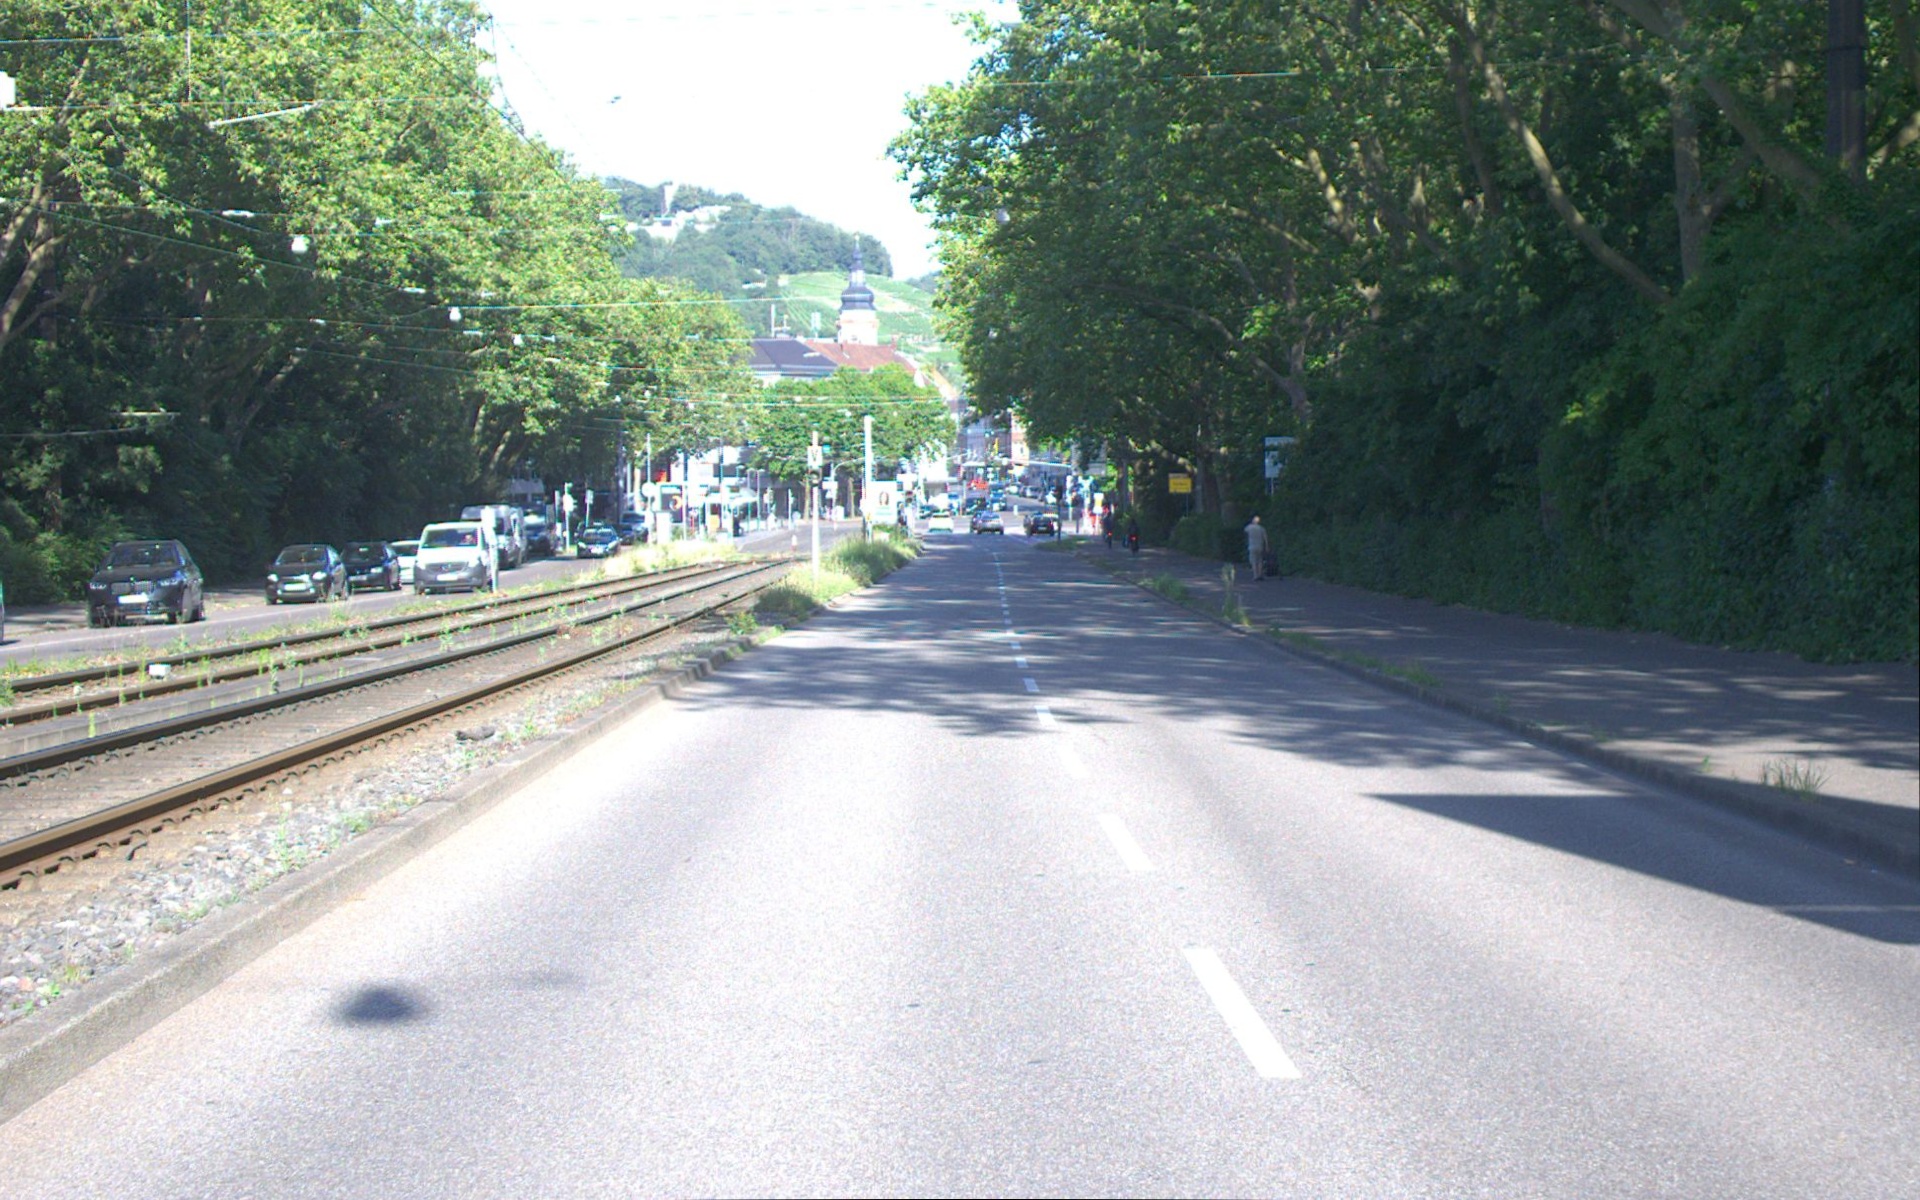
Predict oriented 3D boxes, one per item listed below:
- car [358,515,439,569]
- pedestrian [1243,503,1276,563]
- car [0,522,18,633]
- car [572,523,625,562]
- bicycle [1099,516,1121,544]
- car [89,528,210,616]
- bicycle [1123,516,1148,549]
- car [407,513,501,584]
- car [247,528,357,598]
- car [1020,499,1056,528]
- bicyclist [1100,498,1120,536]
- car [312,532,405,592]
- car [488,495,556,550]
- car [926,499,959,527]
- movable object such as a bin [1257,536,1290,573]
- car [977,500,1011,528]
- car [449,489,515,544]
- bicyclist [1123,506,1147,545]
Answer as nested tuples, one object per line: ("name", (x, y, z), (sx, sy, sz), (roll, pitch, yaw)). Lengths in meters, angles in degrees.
("car", (-18.360, -1.911, 112.541), (1.993, 1.691, 4.745), (-1, 1, -2))
("pedestrian", (7.727, -1.726, 88.610), (0.804, 1.540, 0.814), (-1, 1, 4))
("car", (-16.017, -0.258, 53.208), (1.741, 1.737, 4.515), (-4, 2, -3))
("car", (-16.189, -2.579, 154.129), (1.993, 1.691, 4.745), (-1, 1, -2))
("bicycle", (7.067, -3.292, 161.959), (0.887, 1.316, 2.640), (-1, 1, 0))
("car", (-16.092, -0.580, 68.402), (1.741, 1.631, 4.001), (-1, 2, -5))
("bicycle", (7.249, -2.795, 142.280), (0.887, 1.316, 2.640), (-1, 1, 0))
("car", (-13.647, -1.411, 92.989), (1.993, 1.838, 5.302), (-1, 1, -3))
("car", (-16.841, -0.972, 88.191), (1.993, 1.691, 4.745), (-1, 1, -2))
("car", (5.525, -6.129, 242.963), (2.394, 1.993, 5.306), (-1, 1, 0))
("bicyclist", (7.066, -3.903, 161.830), (0.887, 1.768, 1.222), (-1, 1, 0))
("car", (-17.682, -1.131, 101.278), (1.993, 1.691, 4.745), (-1, 1, -2))
("car", (-20.518, -3.618, 161.113), (2.394, 2.515, 5.900), (-1, 1, 0))
("car", (-1.310, -6.499, 257.409), (2.394, 1.993, 5.306), (-1, 1, 0))
("movable object such as a bin", (8.003, -1.162, 87.857), (0.804, 0.944, 0.656), (-1, 1, 4))
("car", (2.420, -6.189, 247.756), (2.394, 1.993, 5.306), (-1, 1, 0))
("car", (-19.447, -3.391, 140.099), (1.993, 2.156, 5.815), (-1, 1, -2))
("bicyclist", (7.248, -3.083, 142.372), (0.887, 1.633, 1.164), (-1, 1, 0))
